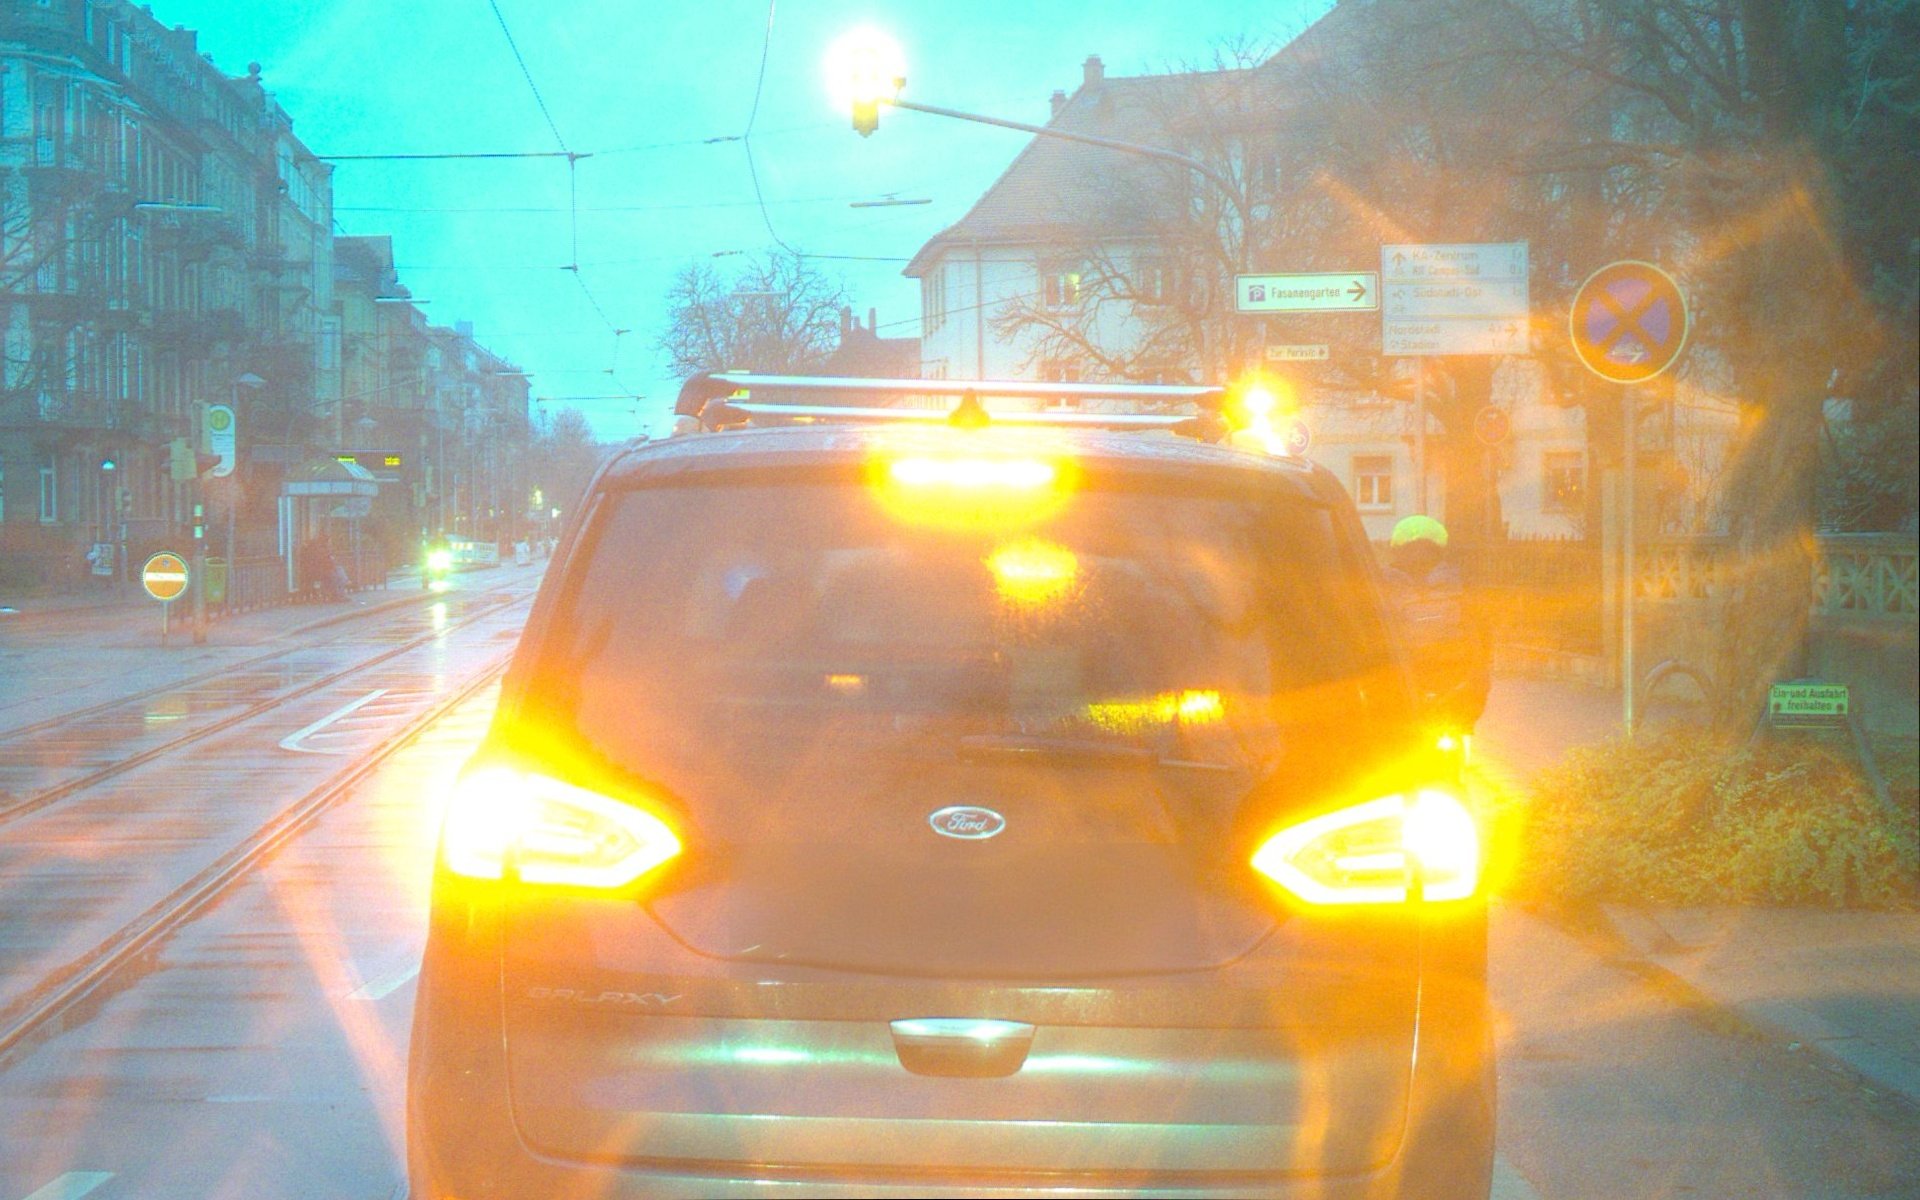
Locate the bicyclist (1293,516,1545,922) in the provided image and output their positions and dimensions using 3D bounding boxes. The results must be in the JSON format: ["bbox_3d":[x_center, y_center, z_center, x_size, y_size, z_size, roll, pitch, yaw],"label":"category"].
[{"bbox_3d":[1.964,0.487,14.847,0.716,1.657,1.057,3,1,-8],"label":"bicyclist"}]

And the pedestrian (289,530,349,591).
[{"bbox_3d":[-12.692,-0.789,68.083,1.047,1.196,0.885,0,0,-3],"label":"pedestrian"}]

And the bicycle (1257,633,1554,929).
[{"bbox_3d":[1.914,0.754,15.064,0.716,1.108,1.942,4,1,-9],"label":"bicycle"}]

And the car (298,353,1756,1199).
[{"bbox_3d":[0.009,0.523,7.365,2.103,1.810,4.661,2,1,-2],"label":"car"}]
